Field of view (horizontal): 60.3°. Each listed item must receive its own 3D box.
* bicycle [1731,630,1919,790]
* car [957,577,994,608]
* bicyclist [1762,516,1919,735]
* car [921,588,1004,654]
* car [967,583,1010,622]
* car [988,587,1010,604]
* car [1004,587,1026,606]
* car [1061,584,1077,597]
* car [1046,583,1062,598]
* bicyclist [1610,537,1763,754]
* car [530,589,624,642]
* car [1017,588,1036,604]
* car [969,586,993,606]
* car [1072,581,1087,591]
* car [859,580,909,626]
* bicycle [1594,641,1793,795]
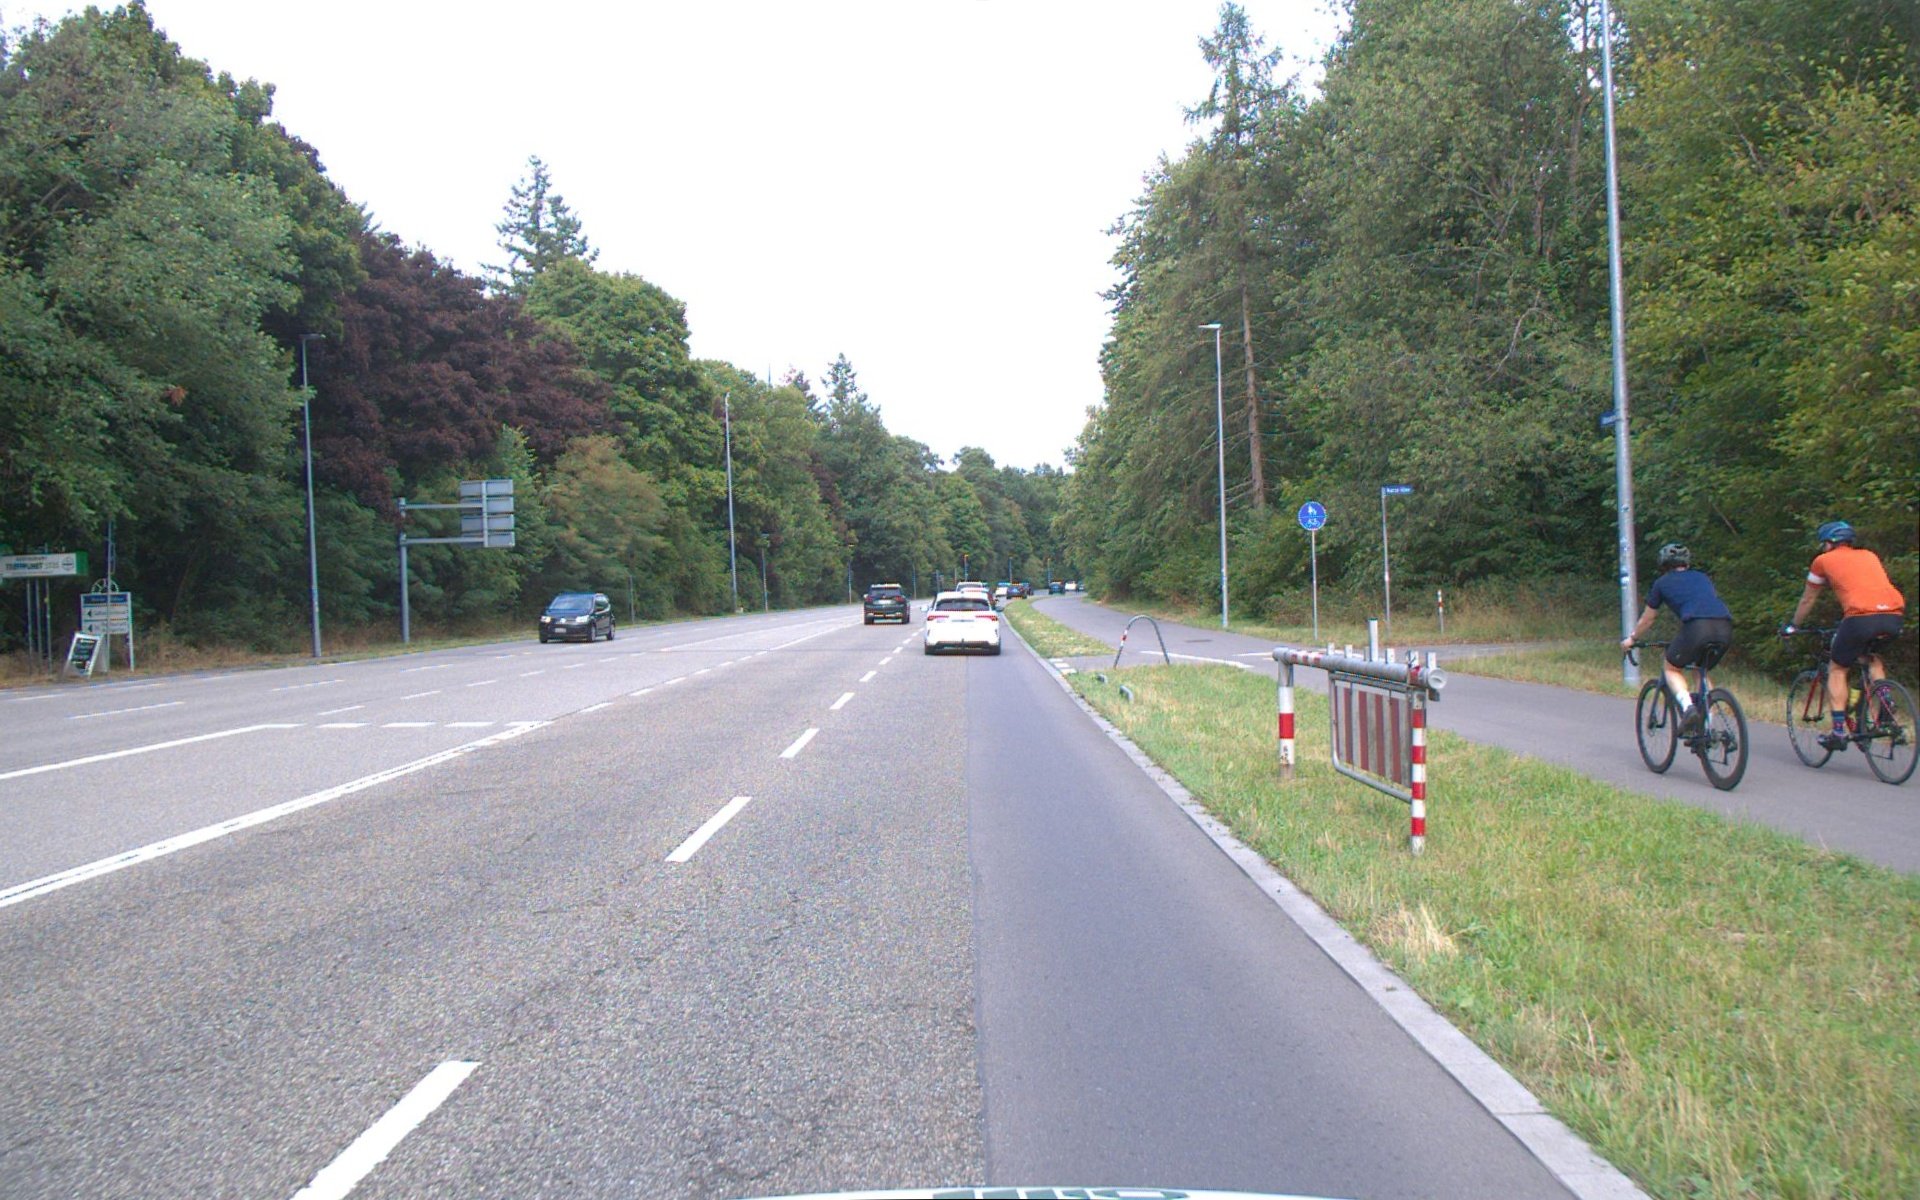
[{"bbox_3d":[6.105,0.718,11.462,0.554,0.927,1.887,-4,0,-1],"label":"bicycle"},{"bbox_3d":[0.813,-0.401,89.877,1.953,1.635,4.000,1,0,0],"label":"car"},{"bbox_3d":[6.117,0.169,11.481,0.509,1.440,1.186,0,0,-1],"label":"bicyclist"},{"bbox_3d":[0.118,0.479,38.919,1.798,1.435,4.492,1,0,2],"label":"car"},{"bbox_3d":[1.075,0.107,63.976,1.602,1.445,4.000,1,0,0],"label":"car"},{"bbox_3d":[4.260,-0.443,180.036,1.951,1.814,4.003,1,0,7],"label":"car"},{"bbox_3d":[5.456,-0.316,162.687,1.951,1.814,4.002,1,0,5],"label":"car"},{"bbox_3d":[16.298,-1.359,247.194,1.848,1.847,4.003,1,0,13],"label":"car"},{"bbox_3d":[11.798,-1.228,207.002,1.951,1.814,4.002,1,0,5],"label":"car"},{"bbox_3d":[5.095,0.305,11.663,0.509,1.440,1.186,-1,0,-1],"label":"bicyclist"},{"bbox_3d":[-11.551,0.462,50.134,1.705,1.501,4.001,1,0,3],"label":"car"},{"bbox_3d":[7.943,-0.462,197.616,1.951,1.814,4.003,1,0,7],"label":"car"},{"bbox_3d":[2.036,-0.390,159.085,1.951,1.814,4.002,1,0,5],"label":"car"},{"bbox_3d":[17.043,-1.991,235.581,1.951,1.434,4.003,1,0,8],"label":"car"},{"bbox_3d":[-3.105,0.120,68.485,1.953,1.818,3.998,1,0,-2],"label":"car"},{"bbox_3d":[5.111,0.790,11.646,0.554,0.927,1.754,-3,0,-1],"label":"bicycle"}]
